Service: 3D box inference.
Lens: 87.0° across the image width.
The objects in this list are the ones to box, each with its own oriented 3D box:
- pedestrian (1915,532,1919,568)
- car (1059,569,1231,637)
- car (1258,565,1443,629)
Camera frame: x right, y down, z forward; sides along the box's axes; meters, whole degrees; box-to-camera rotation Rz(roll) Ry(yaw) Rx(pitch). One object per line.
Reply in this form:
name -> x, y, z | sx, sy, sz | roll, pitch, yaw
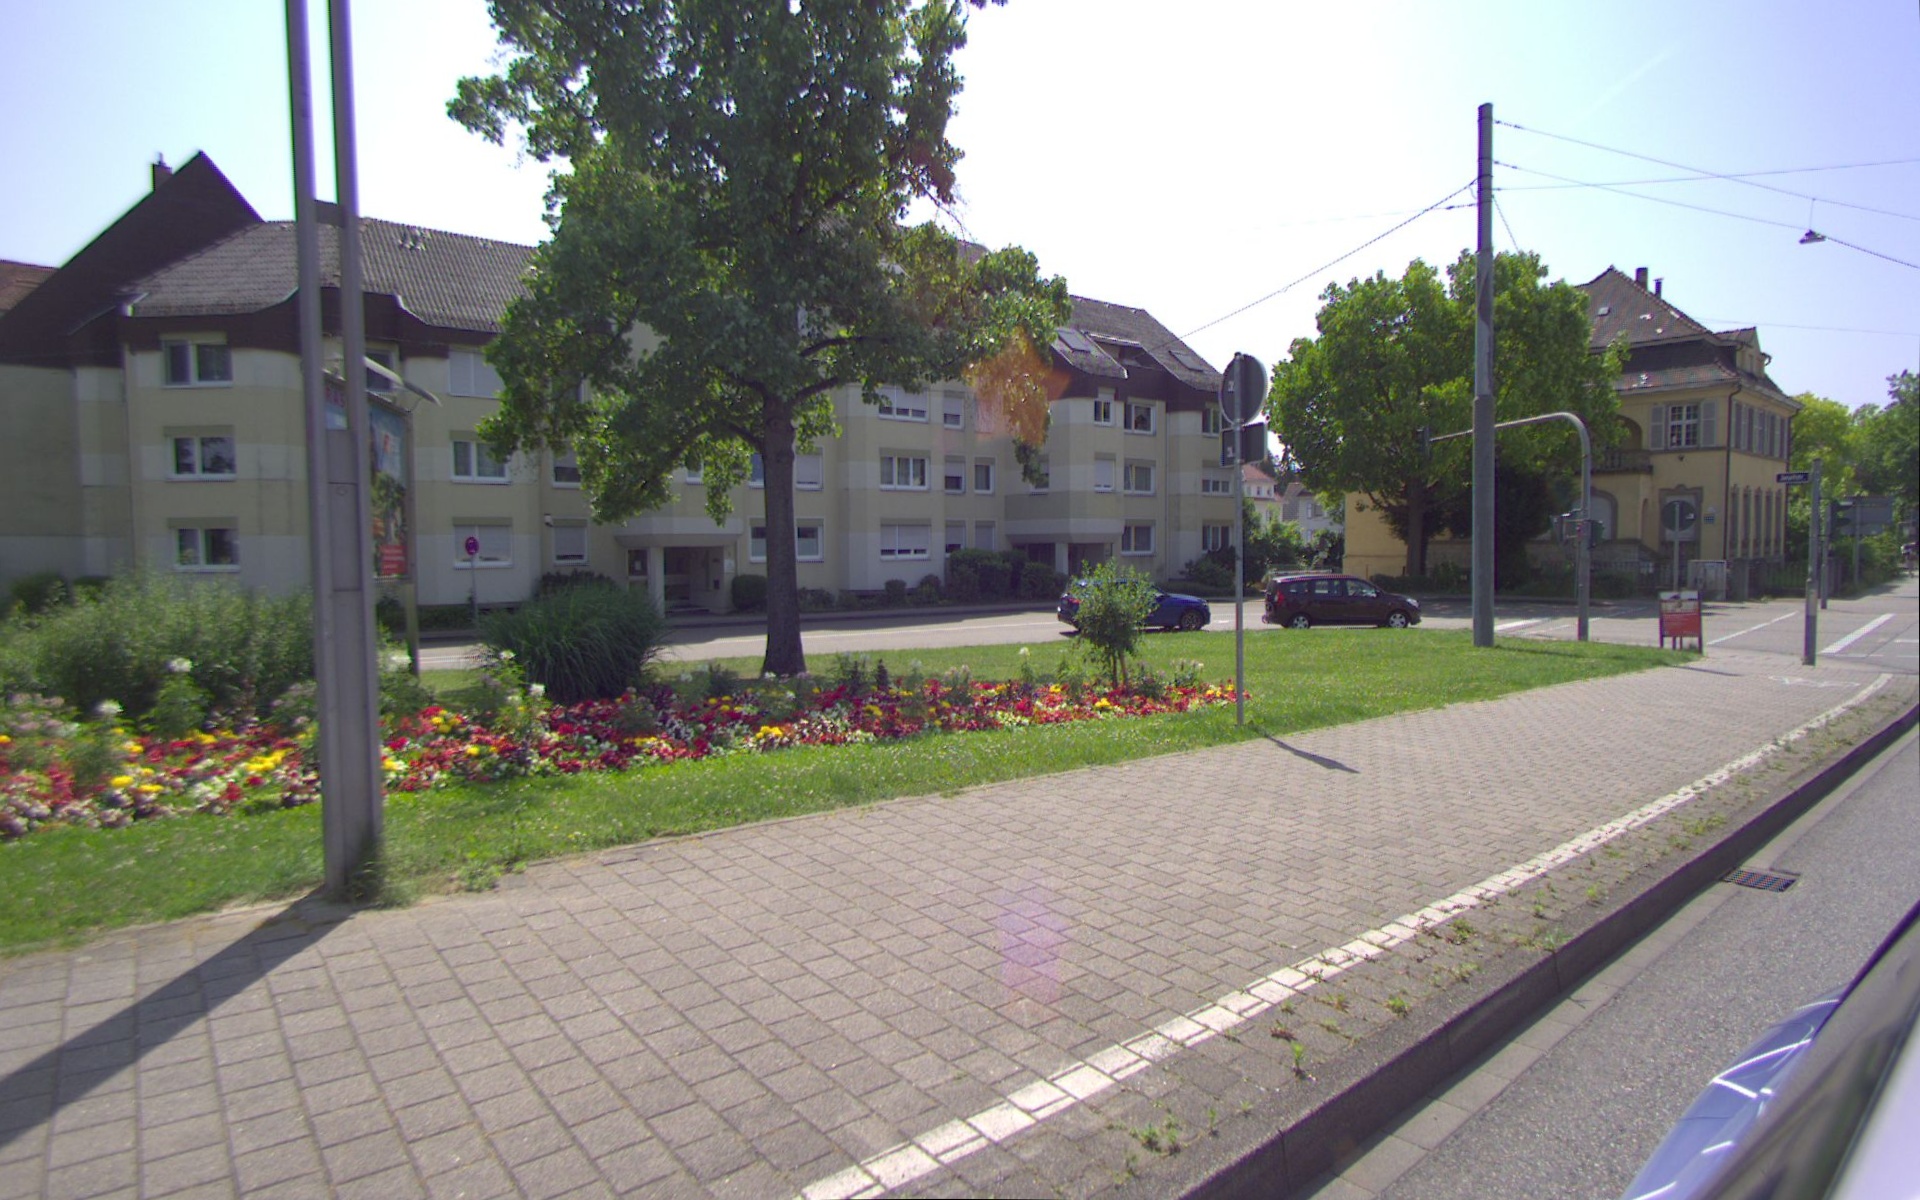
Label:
pedestrian -> 52.000, -2.719, 54.602 | 0.732, 1.941, 0.620 | -3, 4, -43
car -> 5.540, 0.029, 30.554 | 4.670, 1.721, 2.005 | -3, 4, -12
car -> 11.483, -0.100, 30.017 | 4.735, 1.651, 1.916 | -2, 3, 7
